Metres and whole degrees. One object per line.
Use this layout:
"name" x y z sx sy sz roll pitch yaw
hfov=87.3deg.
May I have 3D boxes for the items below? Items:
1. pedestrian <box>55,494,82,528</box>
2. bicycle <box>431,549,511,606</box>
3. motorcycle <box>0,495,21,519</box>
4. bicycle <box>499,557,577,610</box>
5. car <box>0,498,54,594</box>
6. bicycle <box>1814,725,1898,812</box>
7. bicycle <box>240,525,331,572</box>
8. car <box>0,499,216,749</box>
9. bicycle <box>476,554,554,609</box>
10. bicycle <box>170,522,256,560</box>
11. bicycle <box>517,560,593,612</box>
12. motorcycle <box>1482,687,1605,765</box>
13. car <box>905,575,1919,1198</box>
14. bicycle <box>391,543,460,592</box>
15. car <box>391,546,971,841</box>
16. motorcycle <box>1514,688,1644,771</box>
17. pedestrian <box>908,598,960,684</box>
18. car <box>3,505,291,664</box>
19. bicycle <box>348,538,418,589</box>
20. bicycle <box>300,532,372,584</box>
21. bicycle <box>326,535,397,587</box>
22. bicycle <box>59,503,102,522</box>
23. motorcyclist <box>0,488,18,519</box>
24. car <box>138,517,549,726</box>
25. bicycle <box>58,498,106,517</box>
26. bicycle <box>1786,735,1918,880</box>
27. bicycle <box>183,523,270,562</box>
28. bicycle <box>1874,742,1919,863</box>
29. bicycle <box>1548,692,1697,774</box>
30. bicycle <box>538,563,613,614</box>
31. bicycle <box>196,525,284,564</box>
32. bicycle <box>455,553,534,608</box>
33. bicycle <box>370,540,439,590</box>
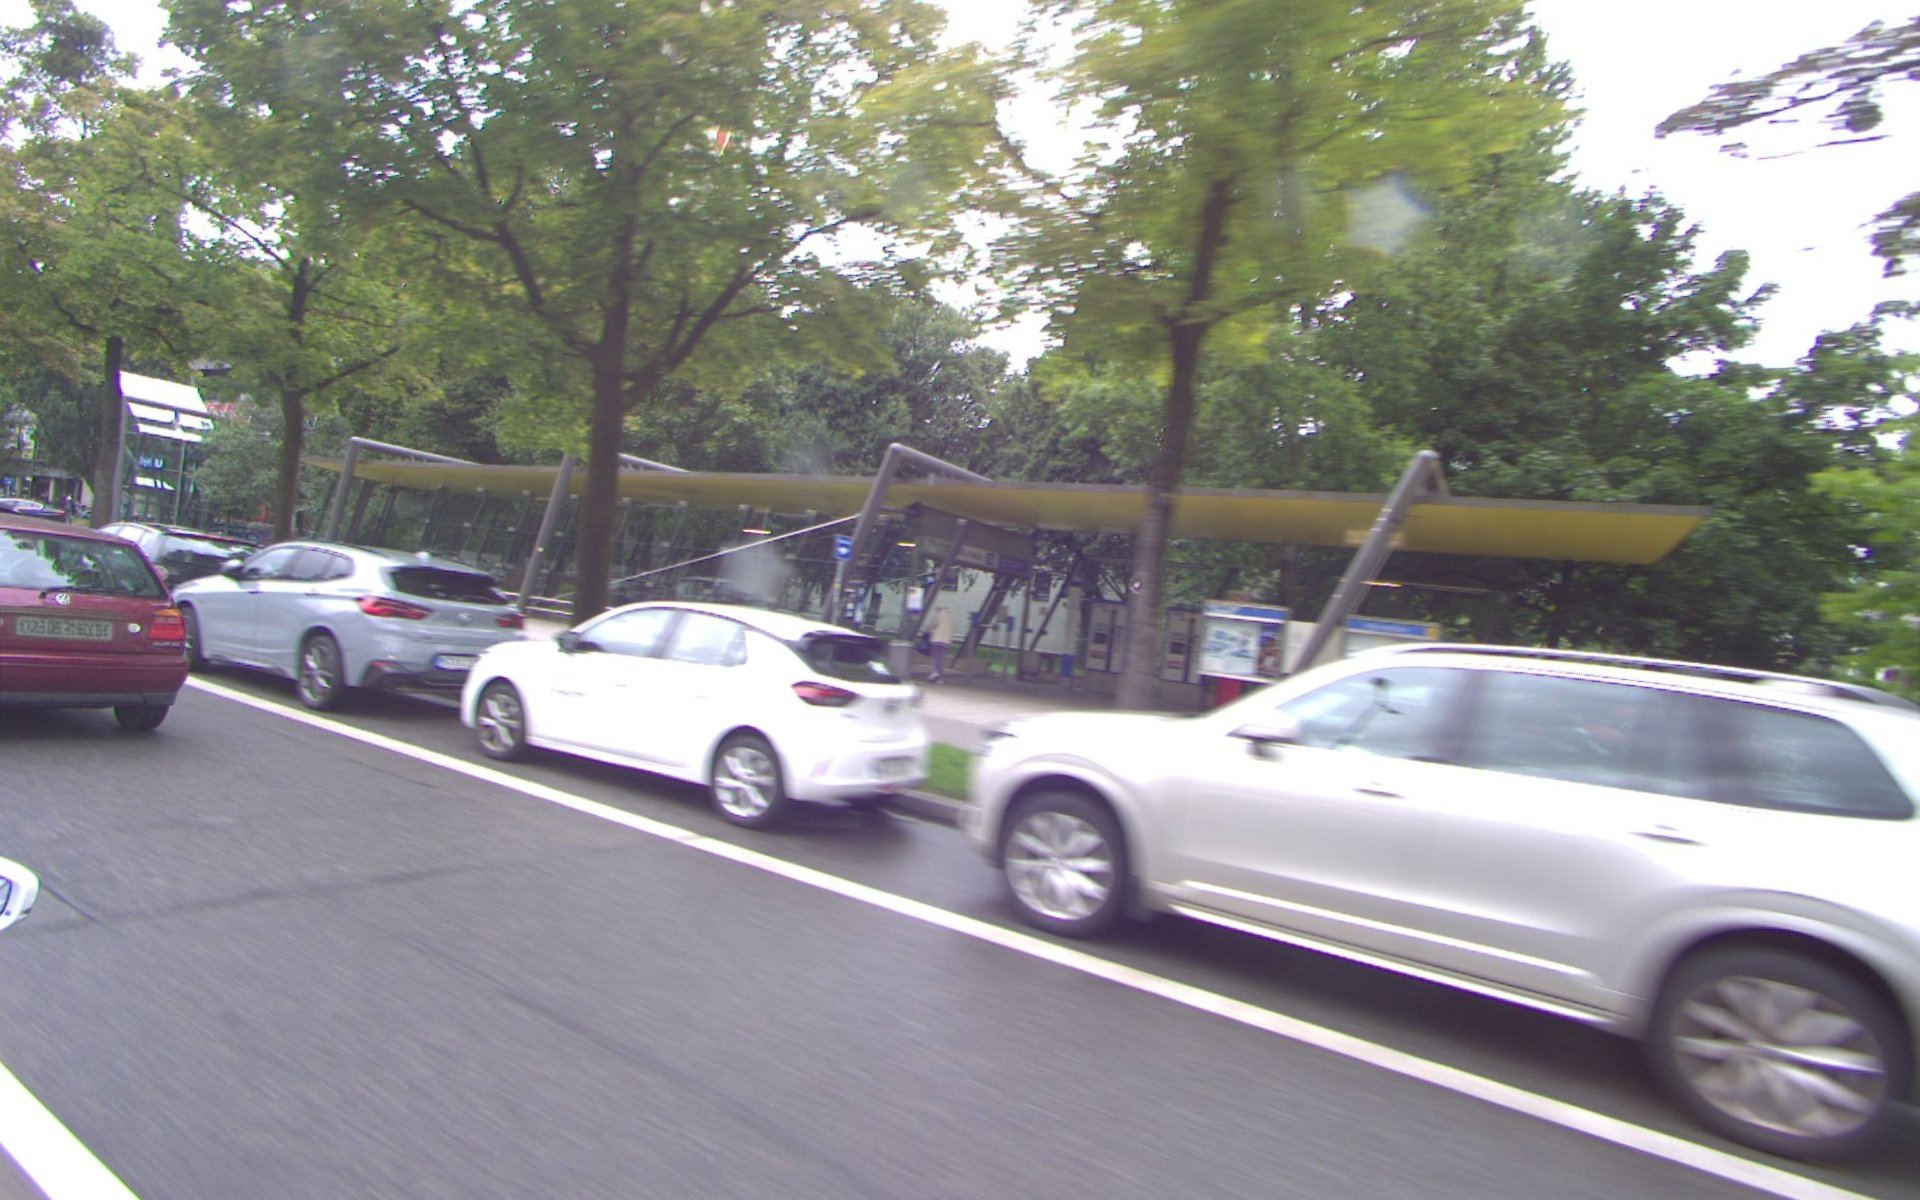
"pedestrian" -50.307 -5.022 56.792 0.924 1.744 0.828 7 2 31
"bicycle" -13.500 -0.632 27.749 2.508 1.296 0.646 7 0 32
"motorcycle" -56.953 -5.563 60.110 2.032 1.309 0.695 7 5 31
"bicycle" -12.412 -0.491 29.545 2.508 1.296 0.646 7 0 32
"car" -17.671 -1.128 17.445 4.153 1.527 1.720 7 0 31
"bicycle" 15.450 2.868 17.402 0.520 1.173 2.339 7 2 31
"bicycle" -23.801 -1.798 35.553 0.636 1.296 2.546 7 -1 31
"car" -7.204 -0.022 7.147 3.883 1.471 1.625 7 0 31
"bicycle" -12.795 -0.539 28.881 2.508 1.296 0.646 7 0 32
"bicycle" -28.773 -2.275 38.801 0.636 1.102 2.546 7 -1 31
"bicycle" -12.196 -0.434 30.290 2.508 1.296 0.646 7 0 32
"motorcycle" 10.364 2.221 17.952 0.649 1.075 1.805 7 0 -20
"car" 2.280 1.062 5.145 4.824 1.744 1.750 7 -1 32
"bicycle" -17.009 -1.042 31.994 2.508 1.296 0.646 7 0 32
"car" -2.339 0.621 8.129 4.426 1.525 1.707 7 -3 29
"motorcycle" 11.204 2.335 18.257 0.652 1.192 1.797 7 0 -33
"pedestrian" -0.485 0.772 19.073 0.681 1.531 0.580 7 0 13
"car" -10.737 -0.240 13.221 4.022 1.552 1.545 7 -2 31
"bicycle" -17.701 -1.118 30.849 2.508 1.296 0.646 7 0 32
"bicycle" -18.414 -1.243 29.654 2.508 1.296 0.646 7 0 32
"bicycle" -18.025 -1.184 30.257 2.508 1.296 0.646 7 0 32
"bicycle" -60.862 -6.065 69.623 2.016 0.969 0.744 7 0 -15
"motorcyclist" -56.804 -5.784 60.000 0.937 1.762 0.690 7 5 31
"car" -6.469 0.167 10.425 4.326 1.552 1.723 7 -1 31
"bicycle" -61.539 -6.487 70.558 2.366 0.880 0.769 7 0 -15
"bicycle" 9.689 2.192 11.010 0.520 1.173 2.339 7 2 31
"bicycle" -27.771 -2.155 38.152 0.636 1.102 2.546 7 -1 31
"bicycle" 10.335 2.205 10.334 0.519 1.173 2.343 7 2 23
"bicycle" 12.947 2.573 19.742 2.308 1.173 0.527 7 3 34
"bicycle" -11.815 -0.361 30.879 2.508 1.296 0.646 7 0 32
"bicycle" -26.878 -2.049 37.606 0.636 1.102 2.546 7 -1 31
"bicycle" -13.171 -0.568 28.413 2.508 1.296 0.646 7 0 32
"bicycle" -17.365 -1.103 31.432 2.508 1.296 0.646 7 0 32
